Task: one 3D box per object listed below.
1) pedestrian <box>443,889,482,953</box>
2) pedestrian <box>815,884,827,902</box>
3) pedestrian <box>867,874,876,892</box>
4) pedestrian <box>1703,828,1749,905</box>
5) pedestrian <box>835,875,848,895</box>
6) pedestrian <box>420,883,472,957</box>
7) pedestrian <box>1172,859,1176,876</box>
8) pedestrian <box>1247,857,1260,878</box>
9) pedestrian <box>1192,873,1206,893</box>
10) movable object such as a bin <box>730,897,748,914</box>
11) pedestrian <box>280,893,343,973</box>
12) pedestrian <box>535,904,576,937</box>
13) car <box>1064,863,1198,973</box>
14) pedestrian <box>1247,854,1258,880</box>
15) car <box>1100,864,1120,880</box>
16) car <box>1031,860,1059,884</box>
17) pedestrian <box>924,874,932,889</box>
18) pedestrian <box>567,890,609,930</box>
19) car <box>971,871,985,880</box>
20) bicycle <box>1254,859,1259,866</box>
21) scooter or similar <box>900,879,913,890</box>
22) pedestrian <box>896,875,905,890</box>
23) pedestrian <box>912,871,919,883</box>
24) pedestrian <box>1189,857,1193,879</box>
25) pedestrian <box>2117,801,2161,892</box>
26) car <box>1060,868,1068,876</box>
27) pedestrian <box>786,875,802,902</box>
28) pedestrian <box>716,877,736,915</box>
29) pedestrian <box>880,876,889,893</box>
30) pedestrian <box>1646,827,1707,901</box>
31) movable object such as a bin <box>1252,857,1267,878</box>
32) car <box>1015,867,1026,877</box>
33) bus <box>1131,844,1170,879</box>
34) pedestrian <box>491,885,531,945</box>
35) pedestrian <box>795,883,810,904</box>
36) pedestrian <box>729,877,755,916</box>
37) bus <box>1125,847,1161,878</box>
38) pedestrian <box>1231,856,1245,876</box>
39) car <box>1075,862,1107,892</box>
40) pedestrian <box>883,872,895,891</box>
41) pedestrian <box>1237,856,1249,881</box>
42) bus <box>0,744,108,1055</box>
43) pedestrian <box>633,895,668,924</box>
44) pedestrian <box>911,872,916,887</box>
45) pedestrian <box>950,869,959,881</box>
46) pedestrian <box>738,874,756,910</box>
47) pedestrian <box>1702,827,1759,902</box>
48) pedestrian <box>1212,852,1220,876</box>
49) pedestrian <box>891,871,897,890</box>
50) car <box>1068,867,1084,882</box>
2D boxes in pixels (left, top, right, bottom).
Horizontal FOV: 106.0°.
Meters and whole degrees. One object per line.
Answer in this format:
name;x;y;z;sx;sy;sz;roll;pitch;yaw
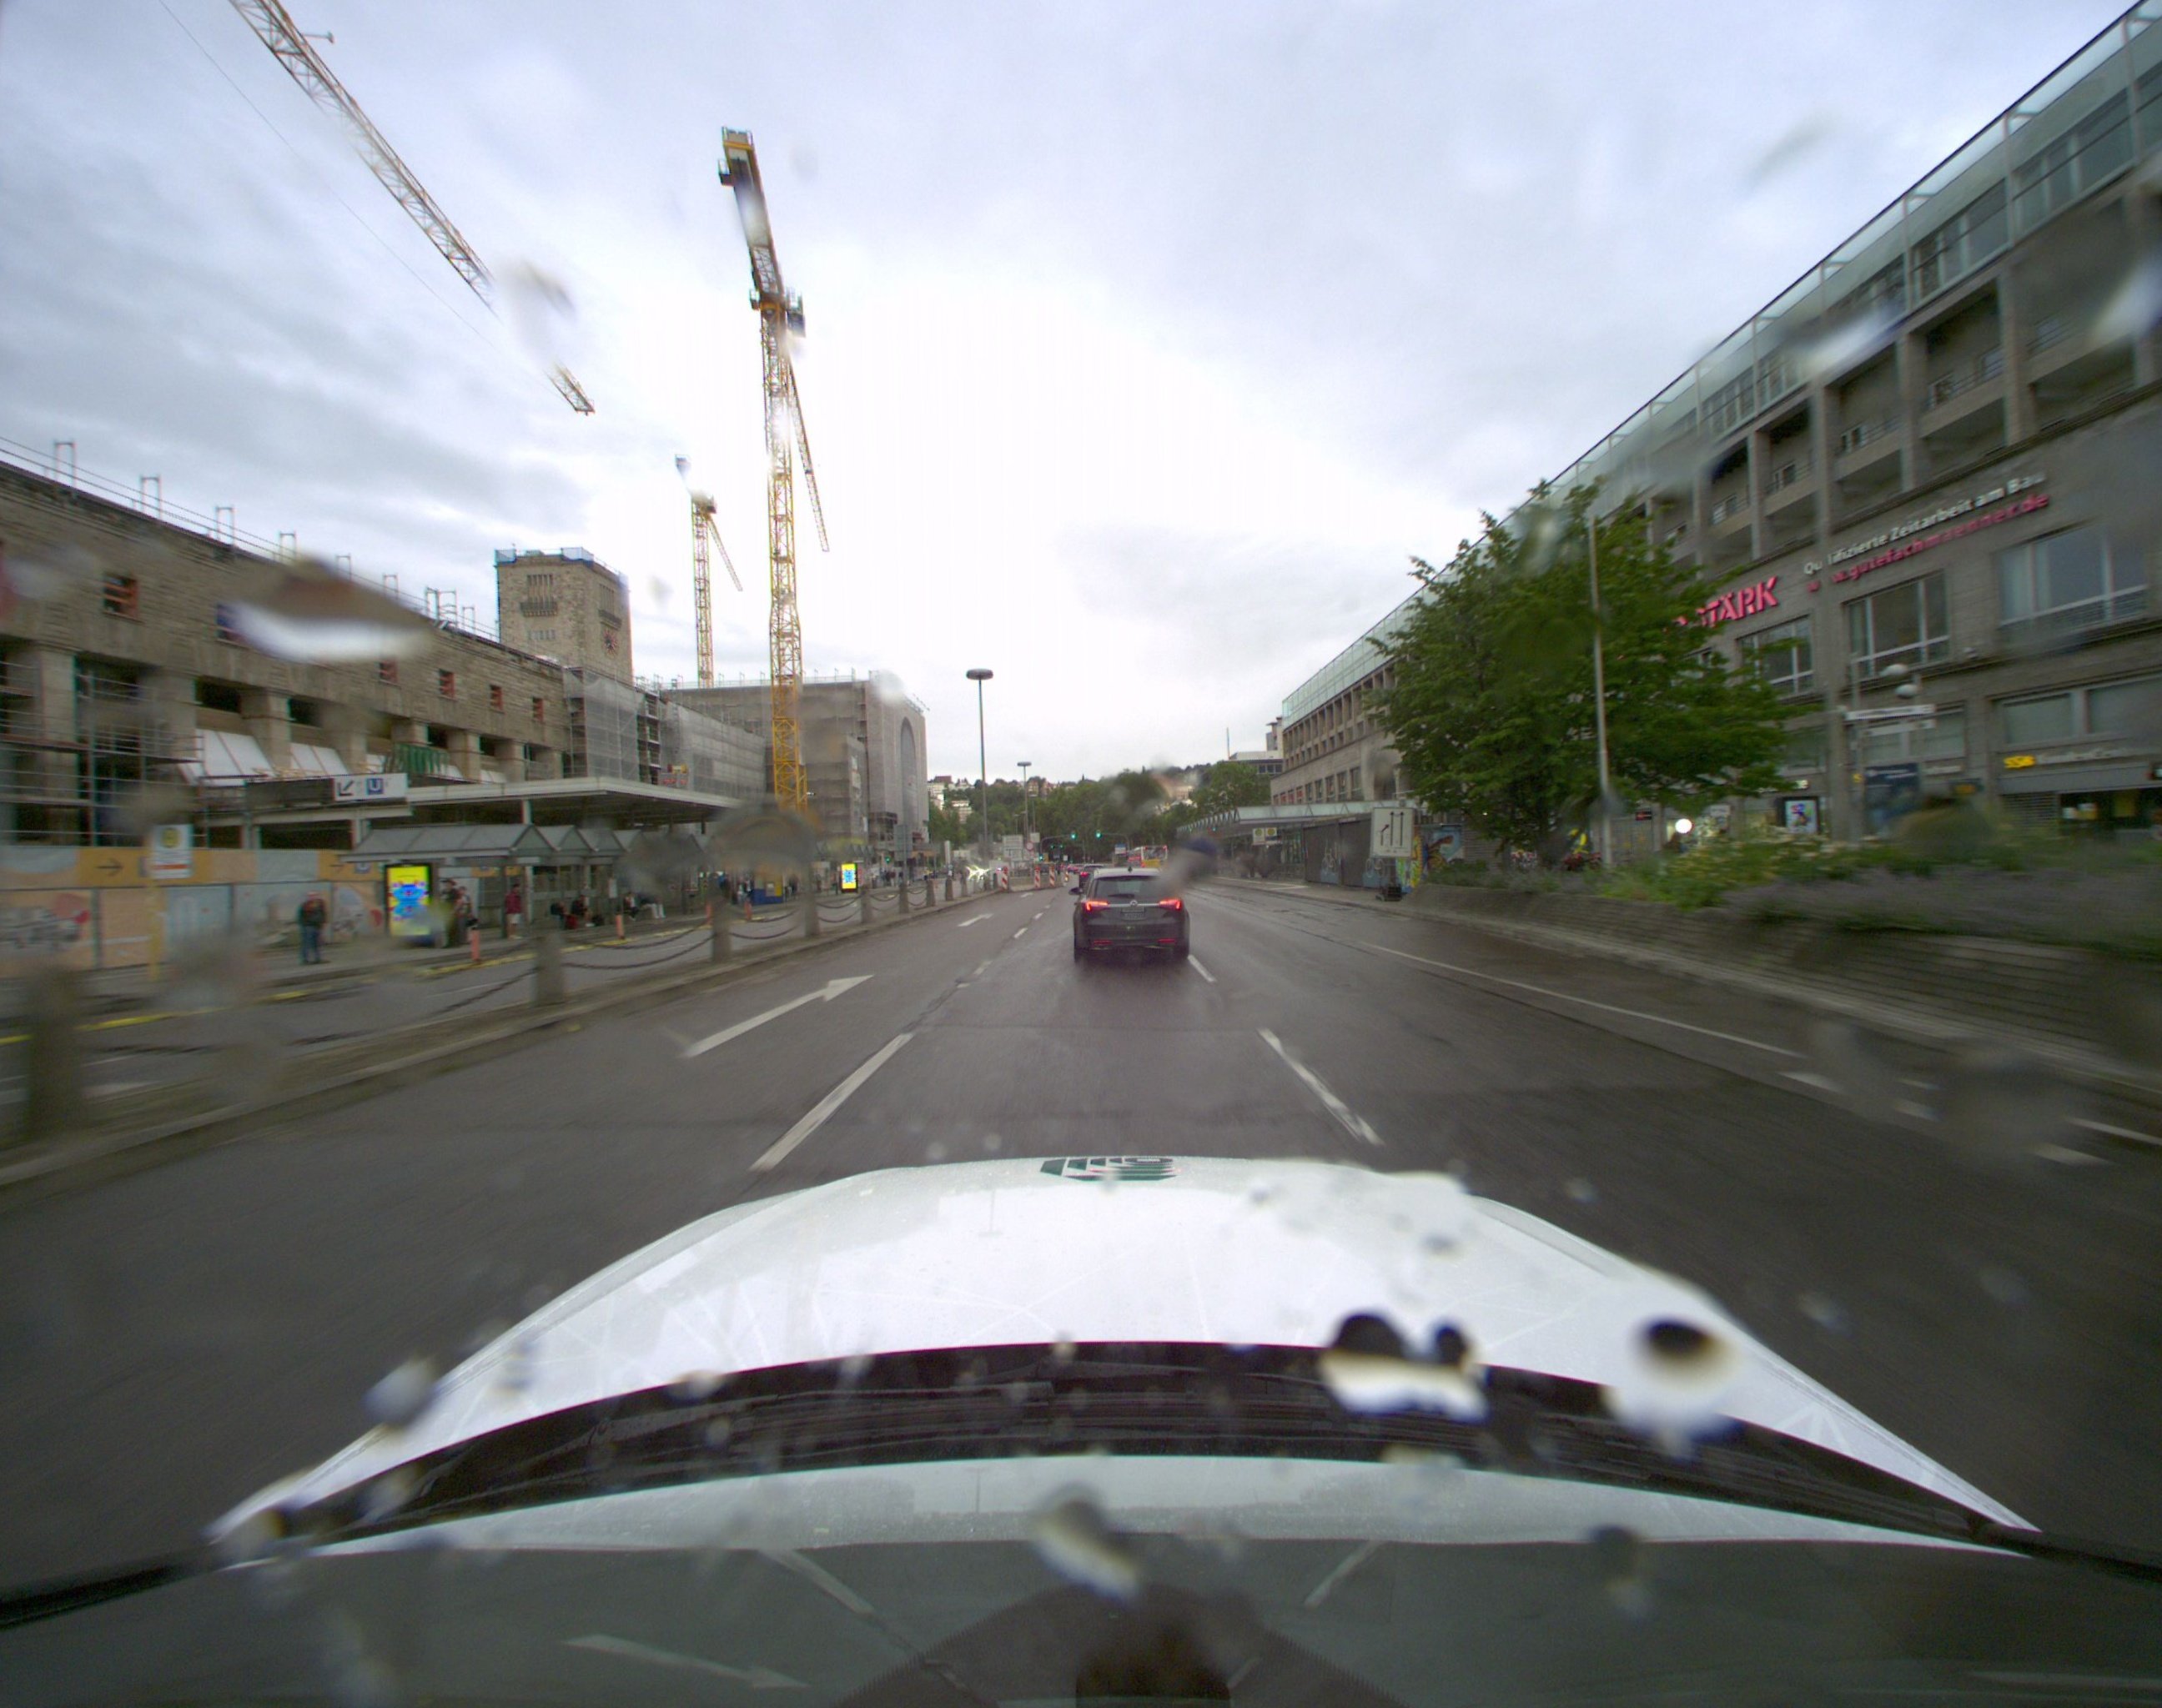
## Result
pedestrian;-18.026;1.938;23.758;0.555;1.790;0.803;-2;-1;-8
pedestrian;-22.662;3.387;70.888;0.801;1.547;0.700;-2;-1;-6
pedestrian;-22.384;3.079;87.150;0.718;1.841;0.612;-2;-1;3
pedestrian;15.049;0.280;19.017;0.565;1.751;0.567;-2;-1;-2
pedestrian;-22.506;2.917;76.526;0.854;1.841;1.045;0;-1;0
pedestrian;-17.466;1.807;22.414;0.757;1.959;0.822;-2;-1;-3
pedestrian;10.021;1.432;87.757;0.441;1.837;0.578;-2;-1;4
pedestrian;14.023;1.098;66.323;0.763;1.655;0.674;-1;-1;-24
pedestrian;10.617;2.592;73.176;0.762;1.690;0.992;-1;-1;-21
movable object such as a bin;-17.055;2.557;40.614;0.505;0.789;0.638;-5;-2;45
pedestrian;-18.094;1.839;19.160;0.694;1.790;0.796;-2;-1;12
pedestrian;-18.671;2.344;28.943;0.841;1.093;0.925;-2;-1;-1
car;0.773;0.951;14.110;1.871;1.508;4.852;-2;-1;1
pedestrian;12.159;0.925;57.821;0.625;1.837;0.642;-2;-1;2
car;3.113;1.995;89.498;1.847;1.717;3.995;-1;-1;-3
car;-3.007;1.473;68.571;1.986;1.862;4.833;-3;-1;1
pedestrian;-18.833;3.361;99.955;0.876;1.841;0.834;-2;-1;-14
pedestrian;-18.746;2.127;30.963;1.052;1.432;0.830;-2;-1;-2
car;-17.720;3.737;140.249;1.987;1.468;3.998;-1;-1;0
bicycle;28.855;1.337;134.043;0.612;1.055;2.000;-4;-1;7
scooter or similar;-18.162;3.196;84.744;0.454;1.066;1.248;-2;-1;34
pedestrian;-21.592;3.413;97.468;0.835;1.841;1.059;-2;-1;3
pedestrian;-22.256;3.127;109.707;0.674;1.613;0.839;-2;-1;2
pedestrian;9.513;1.214;70.367;0.242;1.837;0.512;-2;-1;3
pedestrian;20.905;-0.148;15.877;0.530;1.751;0.636;-2;-1;-2
car;-3.601;3.889;173.487;1.700;1.665;3.706;-1;-1;1
pedestrian;-20.007;2.377;56.718;0.738;1.841;0.705;-2;-1;20
pedestrian;-17.471;2.065;40.085;0.682;1.848;0.550;-1;-2;-45
pedestrian;-22.057;3.412;91.453;0.799;1.841;0.869;-2;-1;3
pedestrian;14.601;0.253;19.994;0.638;1.751;1.076;-2;-1;-2
movable object such as a bin;14.386;1.069;65.543;0.665;1.652;1.040;-1;-1;-23
car;-11.893;3.542;160.444;1.991;2.014;5.358;-1;-1;-6
bus;6.902;0.795;81.955;3.131;3.248;9.132;-1;-1;0
pedestrian;-17.764;1.881;25.388;0.723;1.790;0.746;-2;-1;-6
pedestrian;-18.419;2.587;53.891;0.697;1.326;0.805;-2;-1;-2
pedestrian;-16.249;2.036;39.025;0.771;1.790;0.862;-2;-1;7
bus;6.839;1.021;91.117;3.104;3.205;9.237;-1;-1;-1
pedestrian;15.173;1.155;78.694;0.791;1.805;0.983;-2;-1;-29
car;0.600;1.360;50.067;1.824;1.686;4.134;-2;-1;1
pedestrian;-19.539;2.812;83.008;0.695;1.841;0.883;-2;-1;28
pedestrian;11.719;1.045;58.980;0.673;1.837;0.574;-2;-1;1
bus;-14.410;0.473;0.845;2.897;3.578;19.094;-3;-1;3
pedestrian;-18.873;2.428;35.732;0.946;1.158;1.054;-2;-1;0
pedestrian;-20.708;3.106;100.717;0.571;1.841;0.701;-2;-1;-14
pedestrian;-20.326;3.303;130.779;0.975;1.841;1.046;-3;-1;20
pedestrian;-17.157;1.941;41.831;0.785;1.790;0.666;-1;-1;-28
pedestrian;15.760;0.254;19.779;0.611;1.751;0.868;-2;-1;-2
pedestrian;12.876;0.969;77.782;0.588;2.215;0.587;-2;-1;2
pedestrian;-18.653;2.656;81.305;0.507;1.841;0.703;-2;-1;-6
car;-0.698;2.948;114.925;1.980;2.014;4.363;-1;-1;-4
